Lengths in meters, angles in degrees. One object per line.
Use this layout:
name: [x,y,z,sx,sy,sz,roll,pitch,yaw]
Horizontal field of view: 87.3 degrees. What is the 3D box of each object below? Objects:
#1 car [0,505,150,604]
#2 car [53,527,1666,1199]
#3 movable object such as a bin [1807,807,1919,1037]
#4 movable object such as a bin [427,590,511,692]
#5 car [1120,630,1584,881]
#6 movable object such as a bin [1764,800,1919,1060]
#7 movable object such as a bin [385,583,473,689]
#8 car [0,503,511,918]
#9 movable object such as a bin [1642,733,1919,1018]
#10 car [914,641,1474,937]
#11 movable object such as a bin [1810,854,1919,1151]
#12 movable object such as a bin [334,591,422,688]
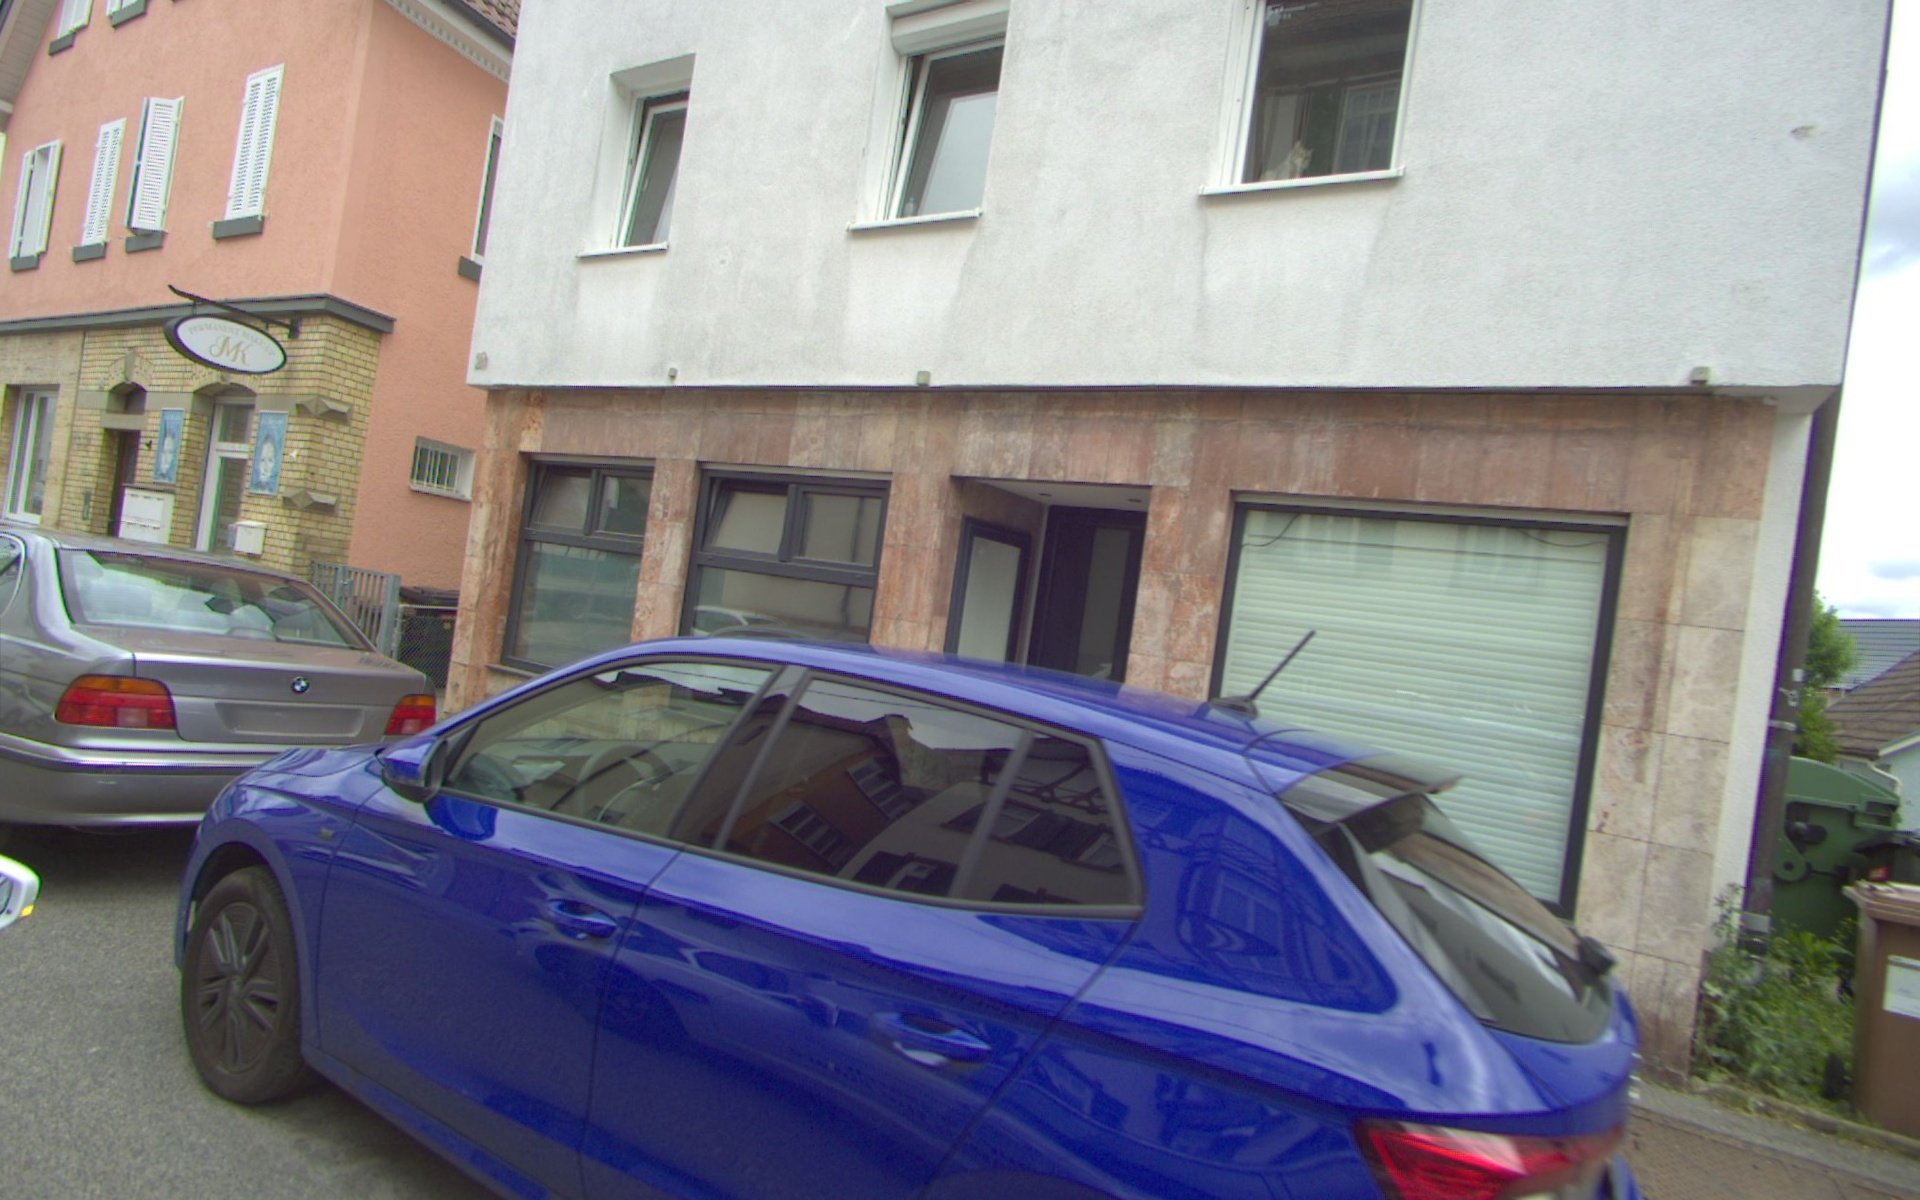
car: [-17.729,-0.972,18.731,1.643,1.495,3.630,8,-3,23]
car: [-0.555,0.771,2.788,3.863,1.448,1.756,6,-3,31]
movable object such as a bin: [5.358,1.813,5.523,0.803,1.124,0.517,13,-1,27]
movable object such as a bin: [-5.663,0.473,11.604,0.594,1.074,0.504,8,1,26]
car: [3.845,1.416,10.086,3.947,1.684,1.647,6,-3,32]
movable object such as a bin: [4.797,1.694,5.138,0.803,1.124,0.517,13,-1,27]
movable object such as a bin: [-5.864,0.403,11.117,0.594,1.074,0.504,8,1,26]
car: [-4.736,0.323,5.430,4.501,1.431,1.793,6,-5,30]
movable object such as a bin: [5.379,1.715,6.621,1.059,1.400,1.273,13,-2,27]
car: [1.769,1.330,8.100,3.949,1.448,1.646,6,-4,34]
movable object such as a bin: [3.698,1.541,3.841,0.513,0.942,0.569,7,2,32]
movable object such as a bin: [-6.142,0.421,10.618,0.537,0.936,0.505,8,1,26]
